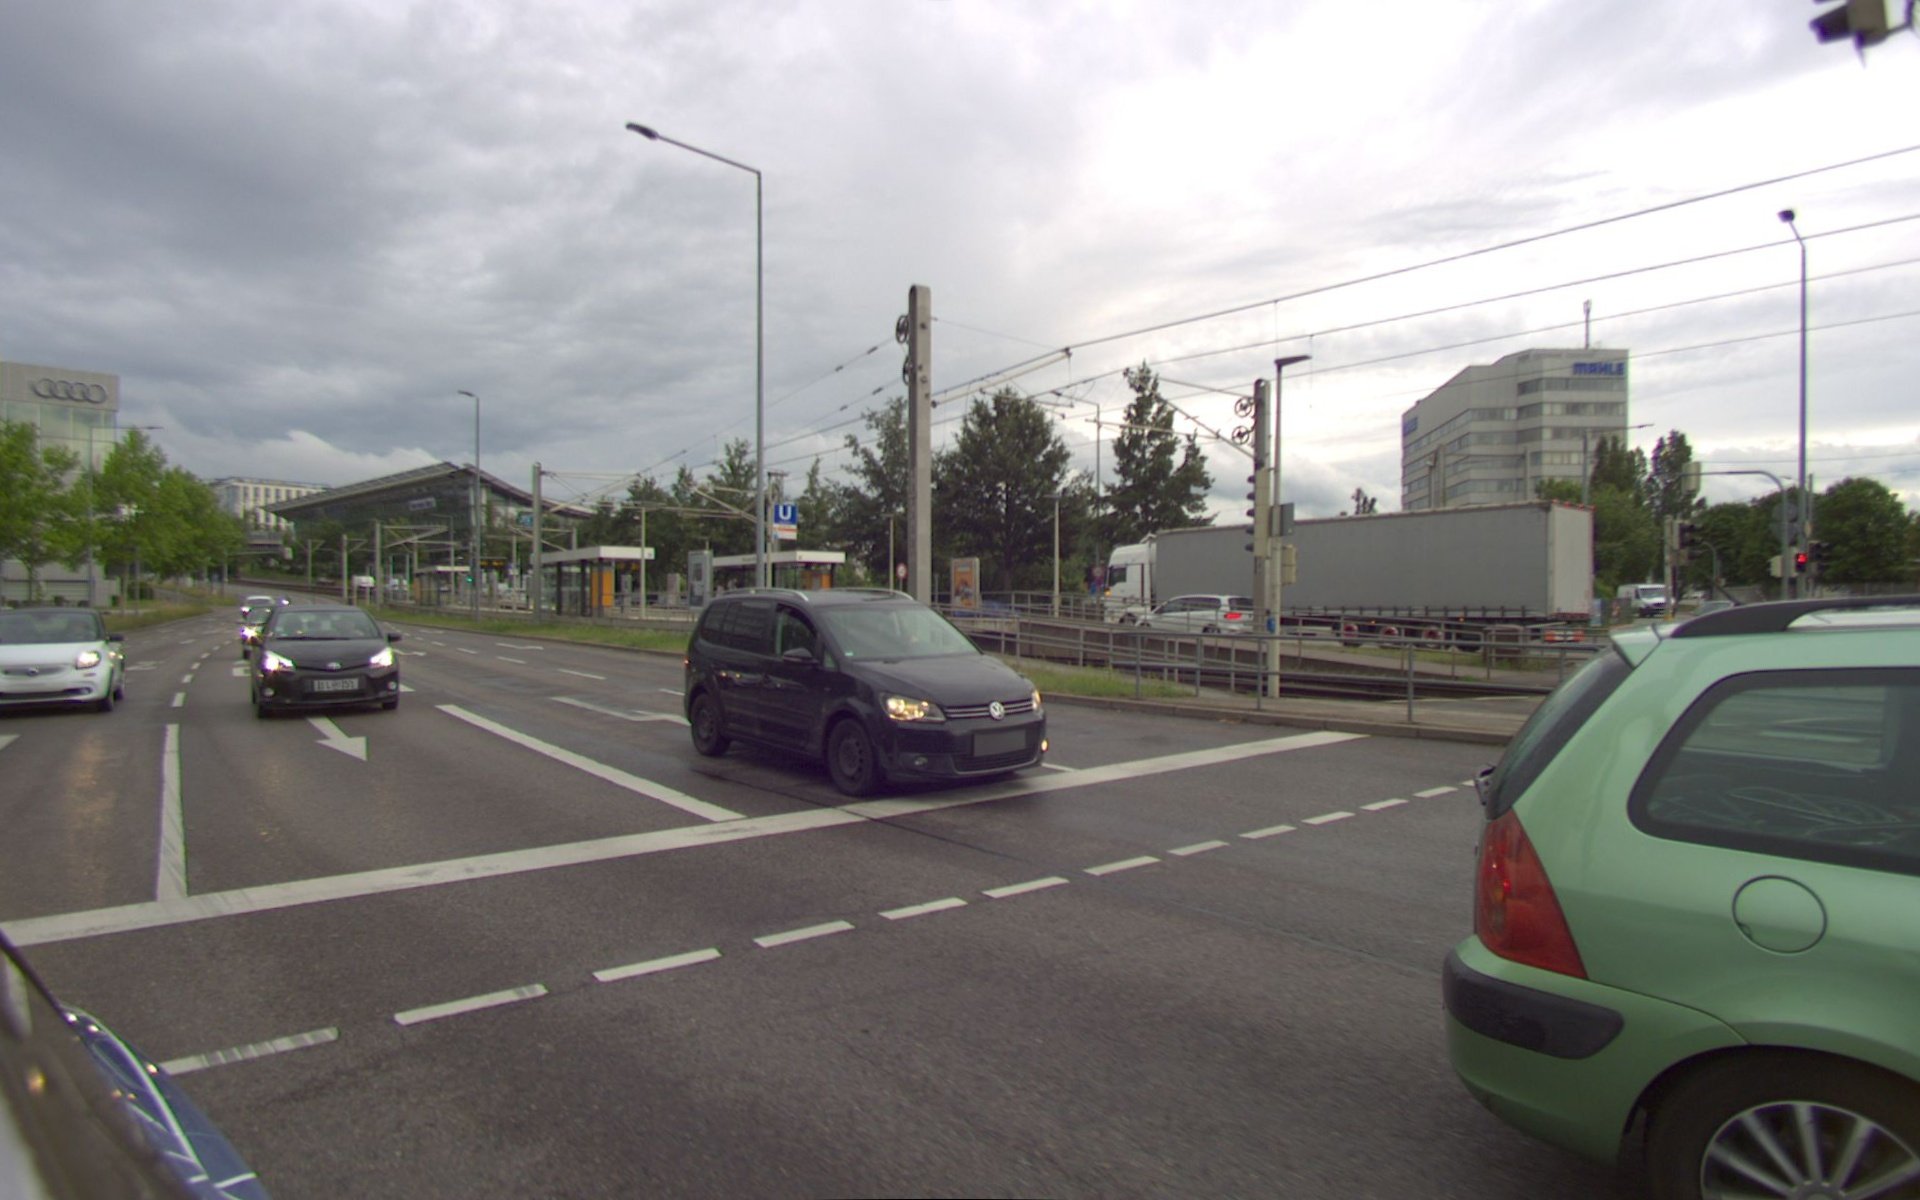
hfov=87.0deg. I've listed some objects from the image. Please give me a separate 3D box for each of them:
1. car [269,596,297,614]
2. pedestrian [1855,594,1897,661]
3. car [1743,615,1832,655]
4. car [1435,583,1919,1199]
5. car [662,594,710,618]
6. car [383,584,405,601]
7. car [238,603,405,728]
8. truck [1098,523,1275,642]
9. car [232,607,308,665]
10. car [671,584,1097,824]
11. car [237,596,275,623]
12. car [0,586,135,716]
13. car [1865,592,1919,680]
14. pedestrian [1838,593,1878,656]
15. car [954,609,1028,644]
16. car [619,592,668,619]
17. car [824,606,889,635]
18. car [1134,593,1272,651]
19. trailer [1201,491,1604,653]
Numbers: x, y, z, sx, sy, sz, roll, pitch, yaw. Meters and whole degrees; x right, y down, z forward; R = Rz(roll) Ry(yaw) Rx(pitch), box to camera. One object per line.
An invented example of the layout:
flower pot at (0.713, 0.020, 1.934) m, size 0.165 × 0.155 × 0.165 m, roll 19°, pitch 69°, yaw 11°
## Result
car at (-61.334, 0.428, 91.791) m, size 1.673 × 1.534 × 3.838 m, roll -1°, pitch 1°, yaw -27°
pedestrian at (24.167, 0.718, 26.697) m, size 0.717 × 1.718 × 0.740 m, roll -2°, pitch 2°, yaw -40°
car at (32.994, 1.387, 40.339) m, size 3.258 × 1.446 × 1.460 m, roll -1°, pitch 1°, yaw -25°
car at (3.344, 0.723, 1.640) m, size 4.398 × 1.479 × 1.678 m, roll 0°, pitch 2°, yaw 39°
car at (-18.837, 0.414, 69.439) m, size 1.764 × 1.514 × 4.009 m, roll -3°, pitch 2°, yaw -37°
car at (-79.472, -1.065, 141.982) m, size 1.968 × 2.230 × 5.156 m, roll -3°, pitch 2°, yaw -37°
car at (-9.418, 0.859, 14.793) m, size 1.671 × 1.534 × 3.912 m, roll -1°, pitch 0°, yaw -38°
truck at (8.248, -0.551, 37.427) m, size 2.794 × 4.026 × 6.000 m, roll 0°, pitch -1°, yaw -37°
car at (-20.193, 0.993, 29.633) m, size 1.712 × 1.489 × 4.010 m, roll -2°, pitch 1°, yaw -35°
car at (-0.911, 0.716, 9.156) m, size 1.705 × 1.604 × 4.200 m, roll -3°, pitch 2°, yaw -39°
car at (-50.880, 0.655, 73.183) m, size 1.799 × 1.723 × 4.167 m, roll -2°, pitch 2°, yaw -30°
car at (-13.817, 0.699, 15.329) m, size 1.777 × 1.736 × 4.010 m, roll 0°, pitch 0°, yaw -36°
car at (19.291, 0.665, 17.937) m, size 1.878 × 1.566 × 4.576 m, roll -3°, pitch 2°, yaw -37°
pedestrian at (24.613, 0.659, 27.738) m, size 0.717 × 1.675 × 0.740 m, roll -2°, pitch 2°, yaw -40°
car at (1.553, 1.325, 52.151) m, size 1.551 × 1.639 × 4.091 m, roll -3°, pitch 2°, yaw -38°
car at (-20.687, 0.323, 66.047) m, size 1.509 × 1.679 × 4.277 m, roll -3°, pitch 2°, yaw -39°
car at (-5.974, 1.160, 57.845) m, size 1.716 × 1.473 × 4.161 m, roll -3°, pitch 2°, yaw -38°
car at (7.833, 0.662, 32.883) m, size 1.863 × 1.664 × 4.104 m, roll -3°, pitch 2°, yaw -37°
trailer at (12.891, -0.636, 31.198) m, size 2.758 × 4.138 × 11.467 m, roll 0°, pitch -1°, yaw -37°
